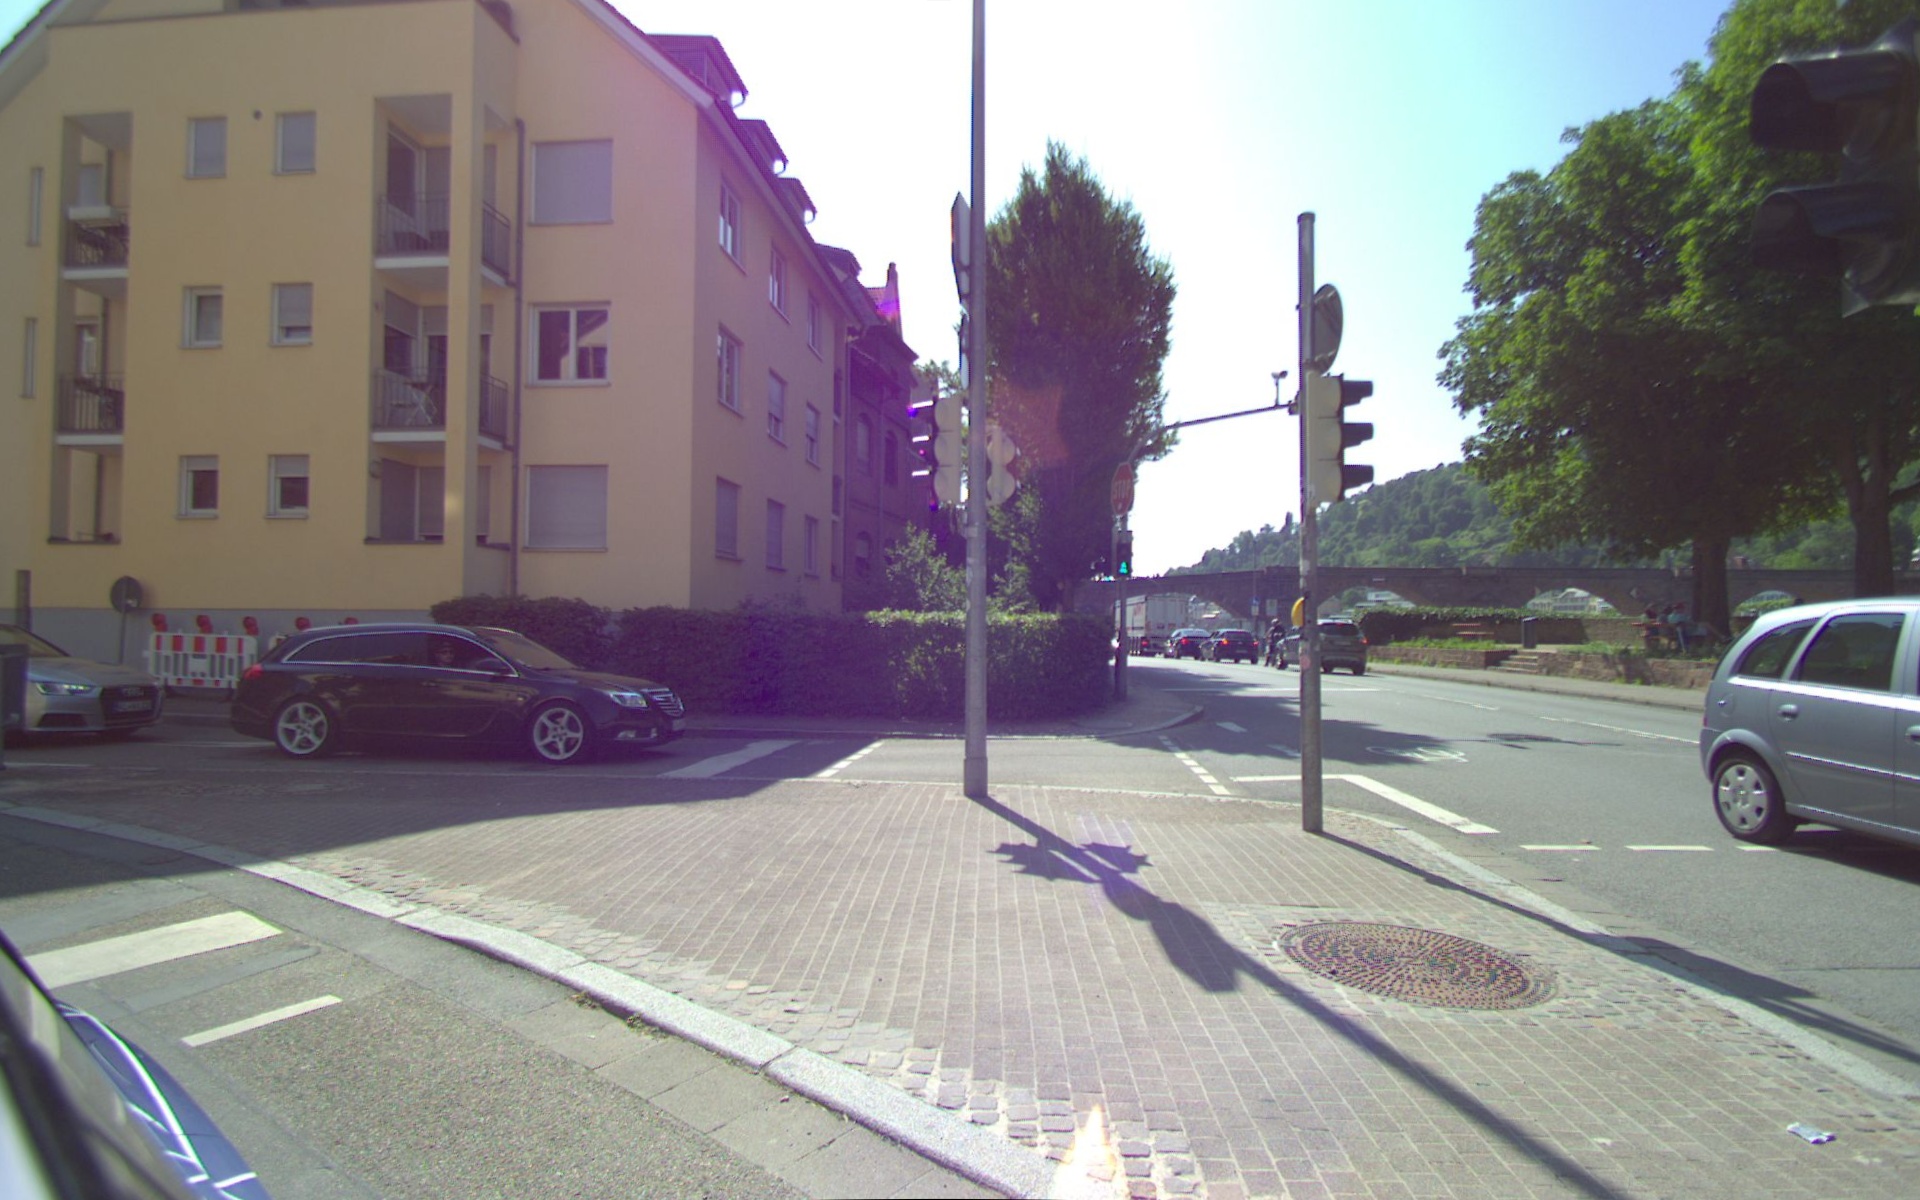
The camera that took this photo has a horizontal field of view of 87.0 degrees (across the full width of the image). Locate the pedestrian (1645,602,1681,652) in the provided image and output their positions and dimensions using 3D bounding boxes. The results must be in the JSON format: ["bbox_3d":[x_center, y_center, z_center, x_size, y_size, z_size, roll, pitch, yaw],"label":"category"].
[{"bbox_3d":[18.554,0.711,26.702,0.624,1.280,0.467,1,-2,7],"label":"pedestrian"}]

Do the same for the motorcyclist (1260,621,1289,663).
[{"bbox_3d":[11.487,1.546,37.016,0.807,1.504,0.773,1,-2,0],"label":"motorcyclist"}]

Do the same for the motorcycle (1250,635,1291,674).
[{"bbox_3d":[11.479,2.010,37.533,0.753,1.387,2.471,1,-2,0],"label":"motorcycle"}]

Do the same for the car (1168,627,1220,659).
[{"bbox_3d":[11.620,2.132,50.516,1.900,1.519,3.994,0,-2,4],"label":"car"}]

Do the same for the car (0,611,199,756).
[{"bbox_3d":[-11.576,0.877,11.604,4.324,1.504,1.876,1,-2,2],"label":"car"}]

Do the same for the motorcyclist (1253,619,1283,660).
[{"bbox_3d":[11.497,1.472,37.806,0.807,1.506,0.874,0,1,0],"label":"motorcyclist"}]

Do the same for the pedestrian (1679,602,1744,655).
[{"bbox_3d":[18.726,0.713,25.240,1.209,1.280,0.467,1,-2,7],"label":"pedestrian"}]

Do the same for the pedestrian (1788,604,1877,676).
[{"bbox_3d":[18.475,0.839,21.443,1.368,1.490,0.467,1,-2,7],"label":"pedestrian"}]

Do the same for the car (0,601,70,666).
[{"bbox_3d":[-24.114,0.811,24.280,1.829,1.556,3.994,0,-1,5],"label":"car"}]

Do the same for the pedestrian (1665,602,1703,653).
[{"bbox_3d":[18.468,0.711,25.821,0.624,1.280,0.467,1,-2,7],"label":"pedestrian"}]

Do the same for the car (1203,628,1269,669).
[{"bbox_3d":[11.574,1.995,42.700,1.974,1.608,3.994,0,-2,4],"label":"car"}]

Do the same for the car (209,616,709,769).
[{"bbox_3d":[-5.327,0.984,11.163,4.661,1.473,1.718,1,-4,2],"label":"car"}]

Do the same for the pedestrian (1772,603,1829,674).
[{"bbox_3d":[18.277,0.830,22.015,0.795,1.504,0.467,1,-2,7],"label":"pedestrian"}]

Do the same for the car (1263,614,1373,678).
[{"bbox_3d":[11.223,1.389,32.084,1.818,1.766,4.409,3,-1,0],"label":"car"}]

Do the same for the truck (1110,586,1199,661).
[{"bbox_3d":[12.026,1.521,64.004,3.169,4.246,12.762,1,-2,0],"label":"truck"}]

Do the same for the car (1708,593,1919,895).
[{"bbox_3d":[5.990,0.752,5.037,1.669,1.623,3.739,-1,-1,-1],"label":"car"}]
